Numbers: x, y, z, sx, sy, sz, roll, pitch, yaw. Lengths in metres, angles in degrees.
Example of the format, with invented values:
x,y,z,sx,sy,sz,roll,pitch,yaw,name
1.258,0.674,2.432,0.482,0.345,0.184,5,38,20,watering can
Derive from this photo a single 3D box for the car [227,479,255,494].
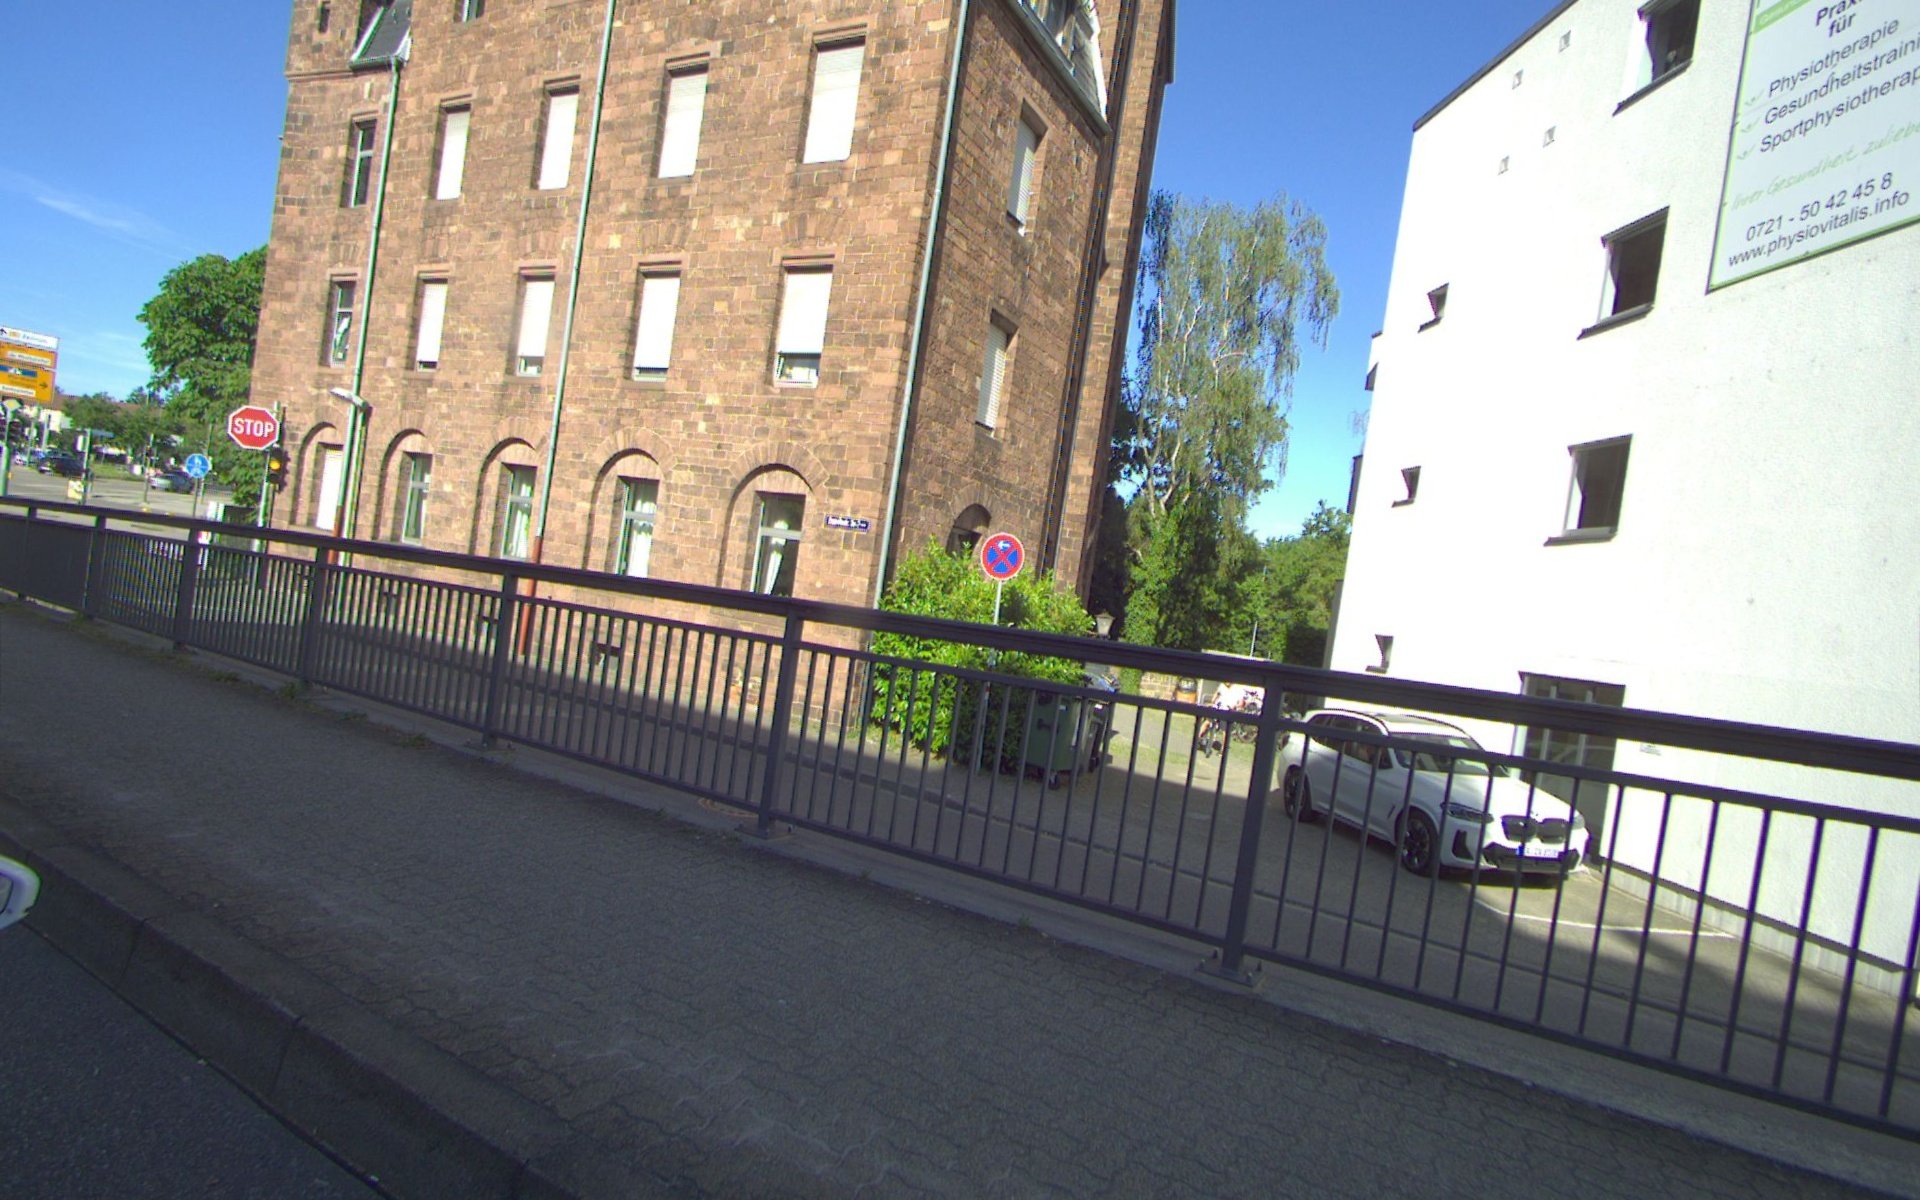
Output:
x,y,z,sx,sy,sz,roll,pitch,yaw,name
-83.066,-13.087,116.325,1.765,1.375,4.050,8,2,-25,car

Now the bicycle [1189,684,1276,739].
x,y,z,sx,sy,sz,roll,pitch,yaw,name
7.406,3.026,27.378,2.075,1.174,0.664,8,1,-9,bicycle

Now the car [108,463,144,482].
x,y,z,sx,sy,sz,roll,pitch,yaw,name
-95.437,-14.563,115.121,1.860,1.598,3.978,8,1,-22,car

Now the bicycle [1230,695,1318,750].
x,y,z,sx,sy,sz,roll,pitch,yaw,name
7.869,3.082,25.277,1.889,1.065,0.664,8,1,-6,bicycle

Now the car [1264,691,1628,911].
x,y,z,sx,sy,sz,roll,pitch,yaw,name
5.969,2.404,13.136,1.814,1.707,4.521,8,0,-9,car

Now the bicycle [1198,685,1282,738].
x,y,z,sx,sy,sz,roll,pitch,yaw,name
7.907,3.134,28.410,2.075,1.174,0.664,8,1,-9,bicycle

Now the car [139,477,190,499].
x,y,z,sx,sy,sz,roll,pitch,yaw,name
-65.797,-9.236,83.294,1.974,1.311,4.566,8,2,-23,car

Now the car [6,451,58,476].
x,y,z,sx,sy,sz,roll,pitch,yaw,name
-79.894,-11.738,86.645,1.860,1.598,3.978,8,1,-22,car

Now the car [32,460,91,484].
x,y,z,sx,sy,sz,roll,pitch,yaw,name
-68.441,-9.755,76.688,1.862,1.311,4.566,8,2,-23,car

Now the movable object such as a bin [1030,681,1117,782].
x,y,z,sx,sy,sz,roll,pitch,yaw,name
1.760,1.999,15.478,1.009,1.307,1.007,10,0,14,movable object such as a bin

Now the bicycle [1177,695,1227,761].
x,y,z,sx,sy,sz,roll,pitch,yaw,name
5.212,2.717,21.572,0.677,1.155,1.838,9,1,20,bicycle

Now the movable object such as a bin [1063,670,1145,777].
x,y,z,sx,sy,sz,roll,pitch,yaw,name
2.400,2.016,16.660,1.009,1.539,1.007,10,0,14,movable object such as a bin

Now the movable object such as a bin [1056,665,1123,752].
x,y,z,sx,sy,sz,roll,pitch,yaw,name
2.645,2.182,20.455,1.009,1.539,1.007,10,0,14,movable object such as a bin

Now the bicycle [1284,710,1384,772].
x,y,z,sx,sy,sz,roll,pitch,yaw,name
8.333,3.138,22.447,1.889,1.065,0.664,8,1,-6,bicycle

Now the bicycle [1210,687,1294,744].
x,y,z,sx,sy,sz,roll,pitch,yaw,name
7.667,3.024,26.444,1.889,1.174,0.664,8,1,-6,bicycle

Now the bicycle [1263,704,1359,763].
x,y,z,sx,sy,sz,roll,pitch,yaw,name
8.129,3.093,23.362,1.889,1.065,0.664,8,1,-6,bicycle

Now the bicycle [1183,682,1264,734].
x,y,z,sx,sy,sz,roll,pitch,yaw,name
7.664,3.135,29.263,2.075,1.174,0.664,8,1,-9,bicycle

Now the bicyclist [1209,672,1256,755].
x,y,z,sx,sy,sz,roll,pitch,yaw,name
5.793,2.402,21.383,0.675,1.627,0.697,9,0,21,bicyclist

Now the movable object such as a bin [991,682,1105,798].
x,y,z,sx,sy,sz,roll,pitch,yaw,name
1.191,1.851,13.516,1.011,1.307,1.005,10,0,29,movable object such as a bin

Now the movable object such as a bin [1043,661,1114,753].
x,y,z,sx,sy,sz,roll,pitch,yaw,name
2.284,2.017,19.266,1.009,1.539,1.007,10,0,14,movable object such as a bin

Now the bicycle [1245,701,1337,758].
x,y,z,sx,sy,sz,roll,pitch,yaw,name
7.973,3.113,24.250,1.889,1.065,0.664,8,1,-6,bicycle
